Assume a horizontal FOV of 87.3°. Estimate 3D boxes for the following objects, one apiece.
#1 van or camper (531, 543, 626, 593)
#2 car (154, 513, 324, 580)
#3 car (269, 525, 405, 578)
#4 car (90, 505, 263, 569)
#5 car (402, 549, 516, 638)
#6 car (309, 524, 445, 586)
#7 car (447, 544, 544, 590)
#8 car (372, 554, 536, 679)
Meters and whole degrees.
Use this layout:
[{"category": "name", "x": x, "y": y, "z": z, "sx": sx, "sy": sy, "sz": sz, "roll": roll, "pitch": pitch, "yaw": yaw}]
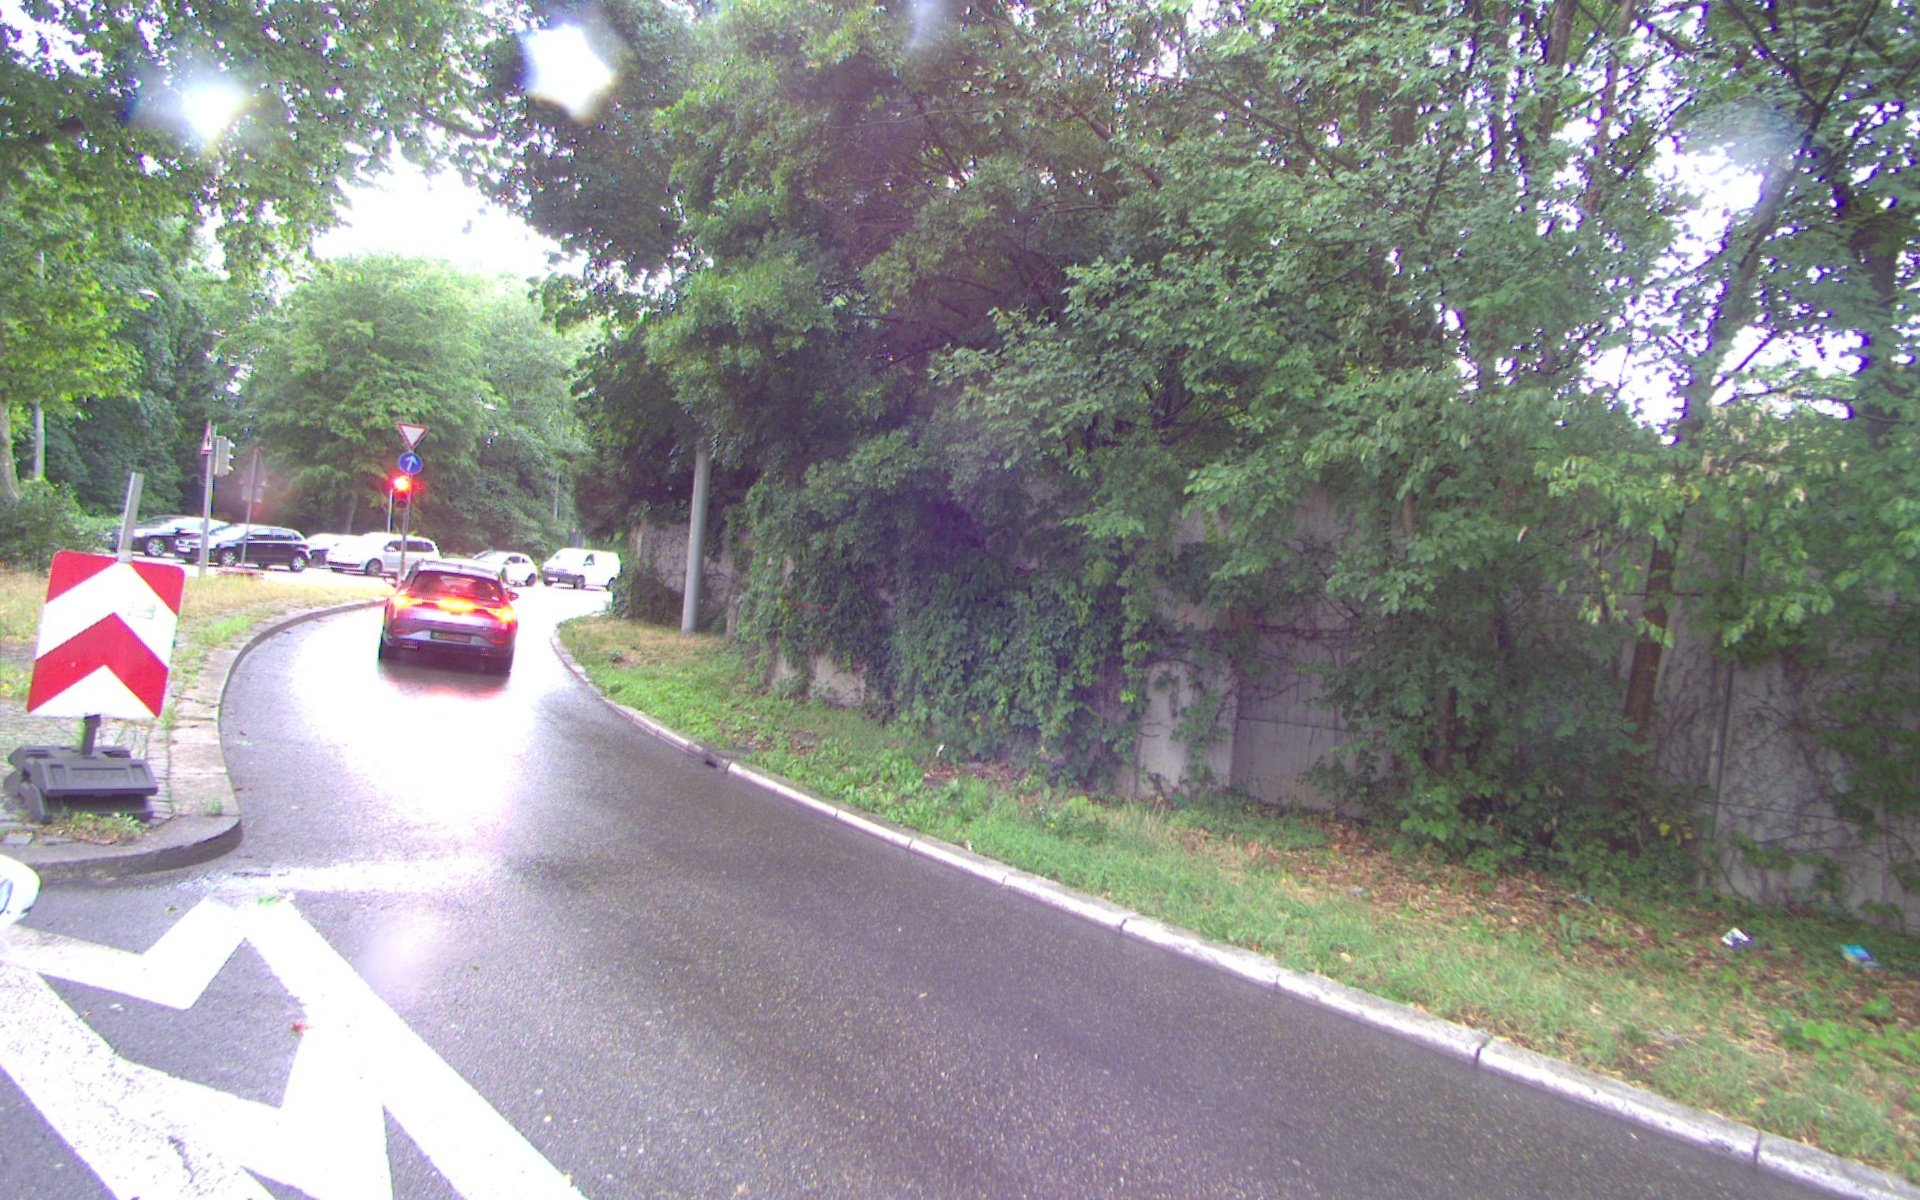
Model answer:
[{"category": "van or camper", "x": -19.128, "y": -1.558, "z": 50.695, "sx": 1.870, "sy": 1.970, "sz": 4.870, "roll": 7, "pitch": -1, "yaw": 13}, {"category": "car", "x": -23.315, "y": -1.690, "z": 32.731, "sx": 1.759, "sy": 1.477, "sz": 4.205, "roll": 7, "pitch": -2, "yaw": 16}, {"category": "car", "x": -24.805, "y": -1.877, "z": 40.261, "sx": 1.795, "sy": 1.418, "sz": 4.452, "roll": 7, "pitch": -2, "yaw": 16}, {"category": "car", "x": -26.642, "y": -2.102, "z": 34.394, "sx": 1.913, "sy": 1.457, "sz": 4.218, "roll": 7, "pitch": -2, "yaw": 16}, {"category": "car", "x": -10.966, "y": -0.180, "z": 22.311, "sx": 1.837, "sy": 1.464, "sz": 4.593, "roll": 11, "pitch": -3, "yaw": -24}, {"category": "car", "x": -22.087, "y": -1.651, "z": 38.310, "sx": 1.871, "sy": 1.699, "sz": 4.216, "roll": 7, "pitch": -2, "yaw": 16}, {"category": "car", "x": -20.544, "y": -1.421, "z": 44.688, "sx": 1.627, "sy": 1.478, "sz": 3.869, "roll": 7, "pitch": -2, "yaw": 16}, {"category": "car", "x": -7.843, "y": 0.160, "z": 15.362, "sx": 1.738, "sy": 1.418, "sz": 4.378, "roll": 10, "pitch": -3, "yaw": -31}]
